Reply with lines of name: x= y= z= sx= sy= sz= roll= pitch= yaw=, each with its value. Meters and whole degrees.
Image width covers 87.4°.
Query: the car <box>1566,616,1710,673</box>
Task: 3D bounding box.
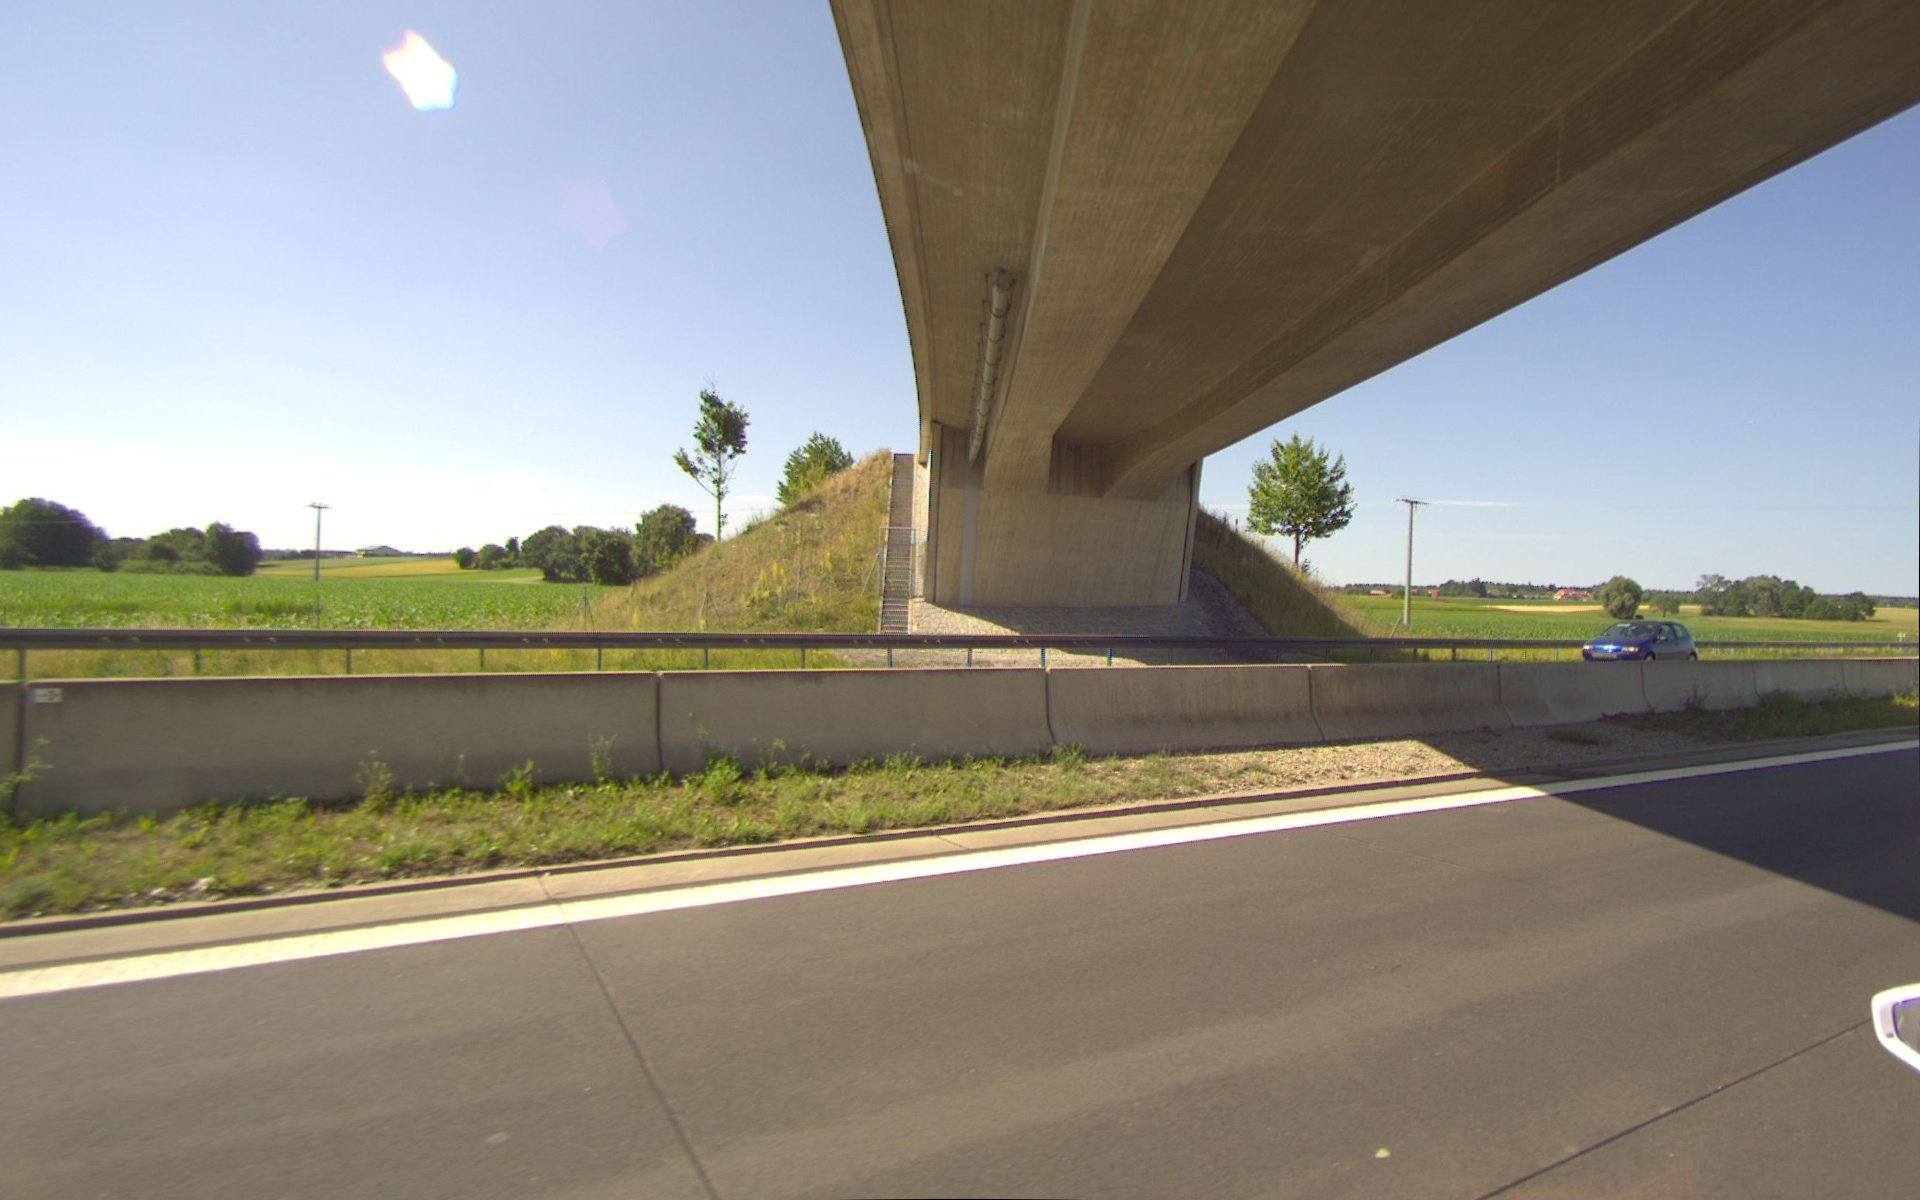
car: x=19.385 y=1.250 z=28.681 sx=4.147 sy=1.479 sz=1.845 roll=2 pitch=0 yaw=-31
